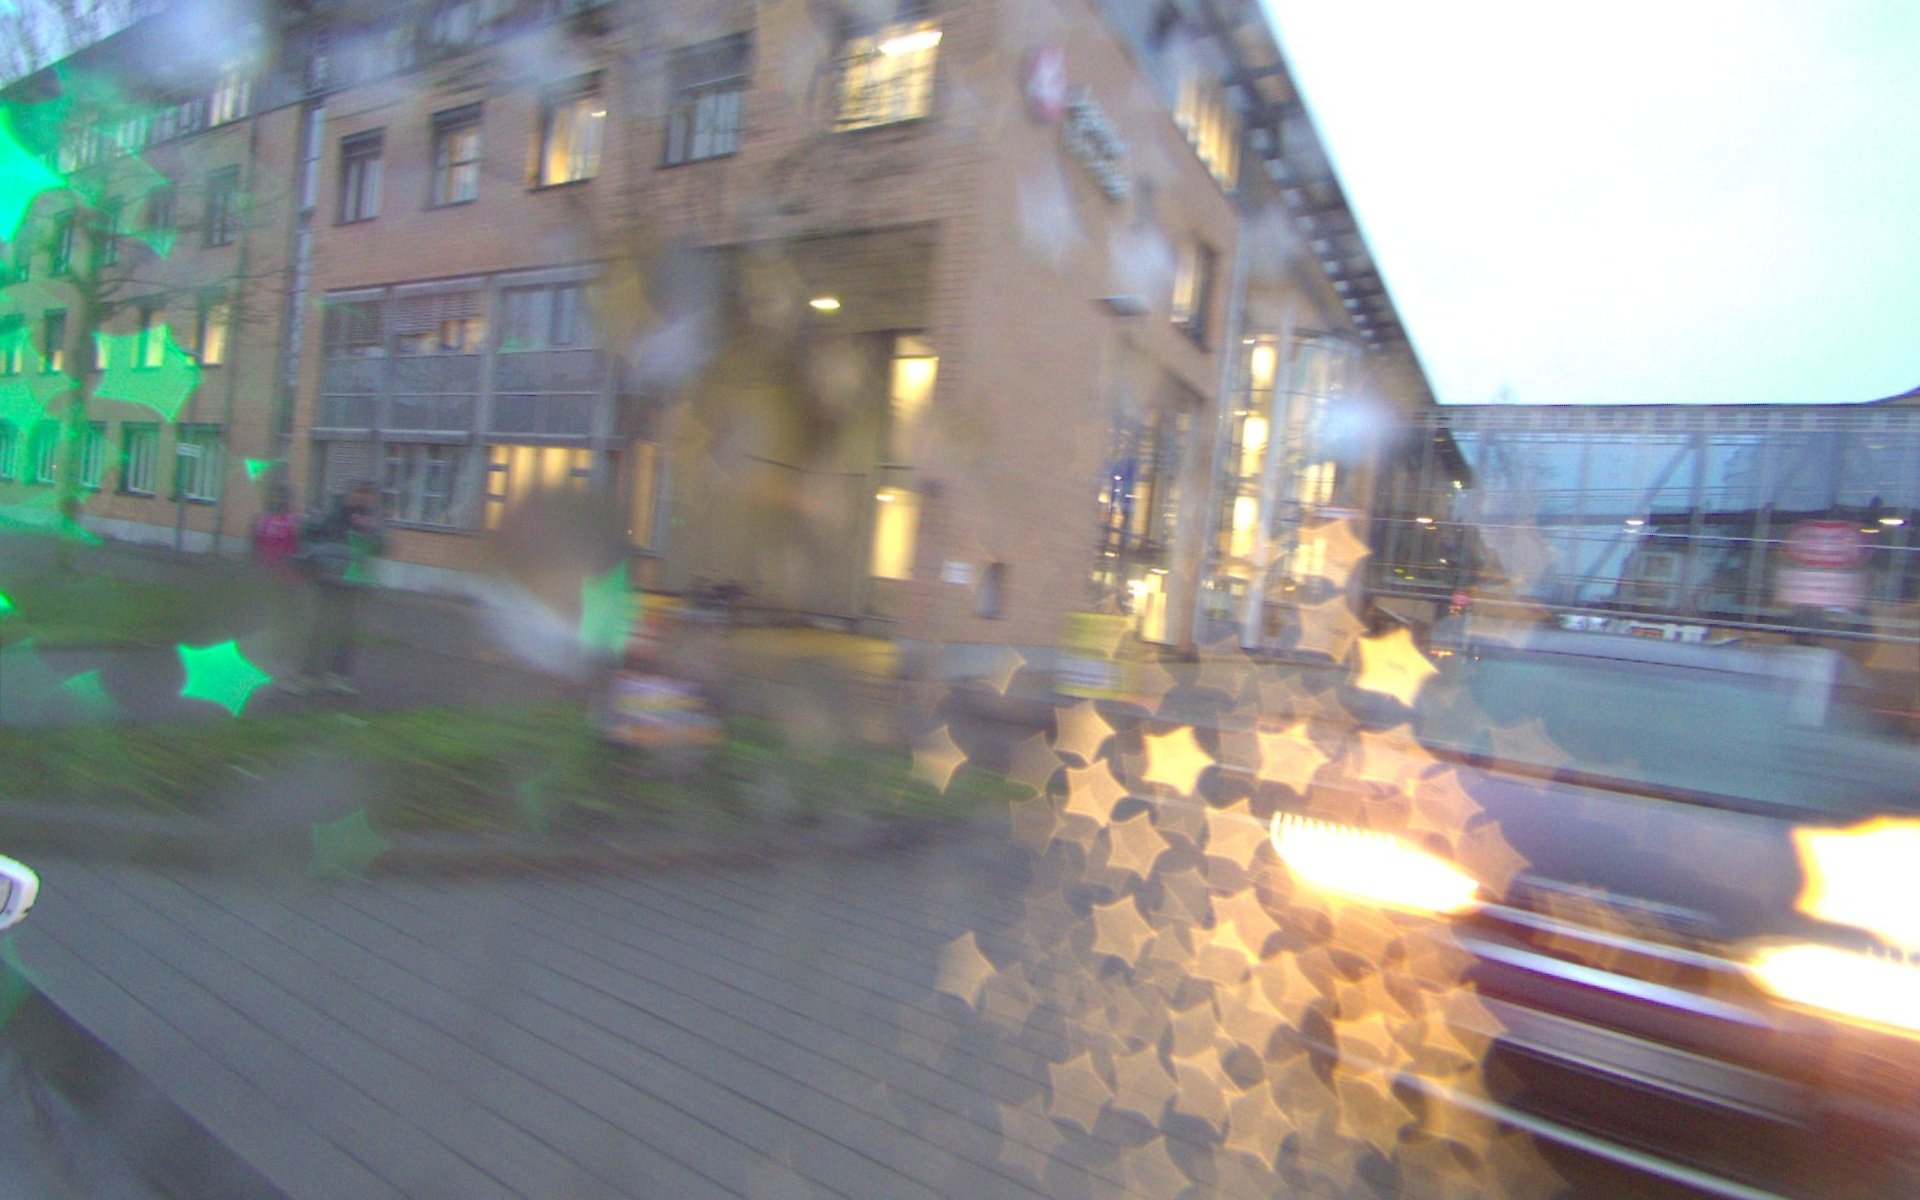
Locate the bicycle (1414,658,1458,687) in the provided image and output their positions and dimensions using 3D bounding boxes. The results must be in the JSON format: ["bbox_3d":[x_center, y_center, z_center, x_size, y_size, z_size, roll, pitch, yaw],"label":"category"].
[{"bbox_3d":[21.746,3.293,45.959,1.674,1.087,0.492,6,-1,30],"label":"bicycle"}]

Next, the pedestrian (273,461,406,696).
[{"bbox_3d":[-5.190,-0.175,8.438,0.645,1.848,0.505,6,2,6],"label":"pedestrian"}]

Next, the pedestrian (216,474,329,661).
[{"bbox_3d":[-6.891,-0.314,10.099,0.646,1.765,0.505,6,2,-1],"label":"pedestrian"}]

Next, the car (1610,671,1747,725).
[{"bbox_3d":[26.926,3.632,37.739,3.942,1.416,1.990,7,1,40],"label":"car"}]

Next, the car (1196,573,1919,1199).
[{"bbox_3d":[2.533,0.875,4.063,1.714,1.576,3.987,7,2,33],"label":"car"}]

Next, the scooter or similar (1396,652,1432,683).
[{"bbox_3d":[18.041,2.679,40.012,1.196,1.087,0.393,6,-1,26],"label":"scooter or similar"}]

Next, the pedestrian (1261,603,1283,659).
[{"bbox_3d":[10.356,1.034,33.411,0.498,1.808,0.502,6,2,16],"label":"pedestrian"}]

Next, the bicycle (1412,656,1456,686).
[{"bbox_3d":[21.072,3.156,44.730,1.674,1.087,0.492,6,-1,30],"label":"bicycle"}]

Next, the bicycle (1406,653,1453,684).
[{"bbox_3d":[19.884,2.918,42.629,1.674,1.087,0.492,6,-1,30],"label":"bicycle"}]
